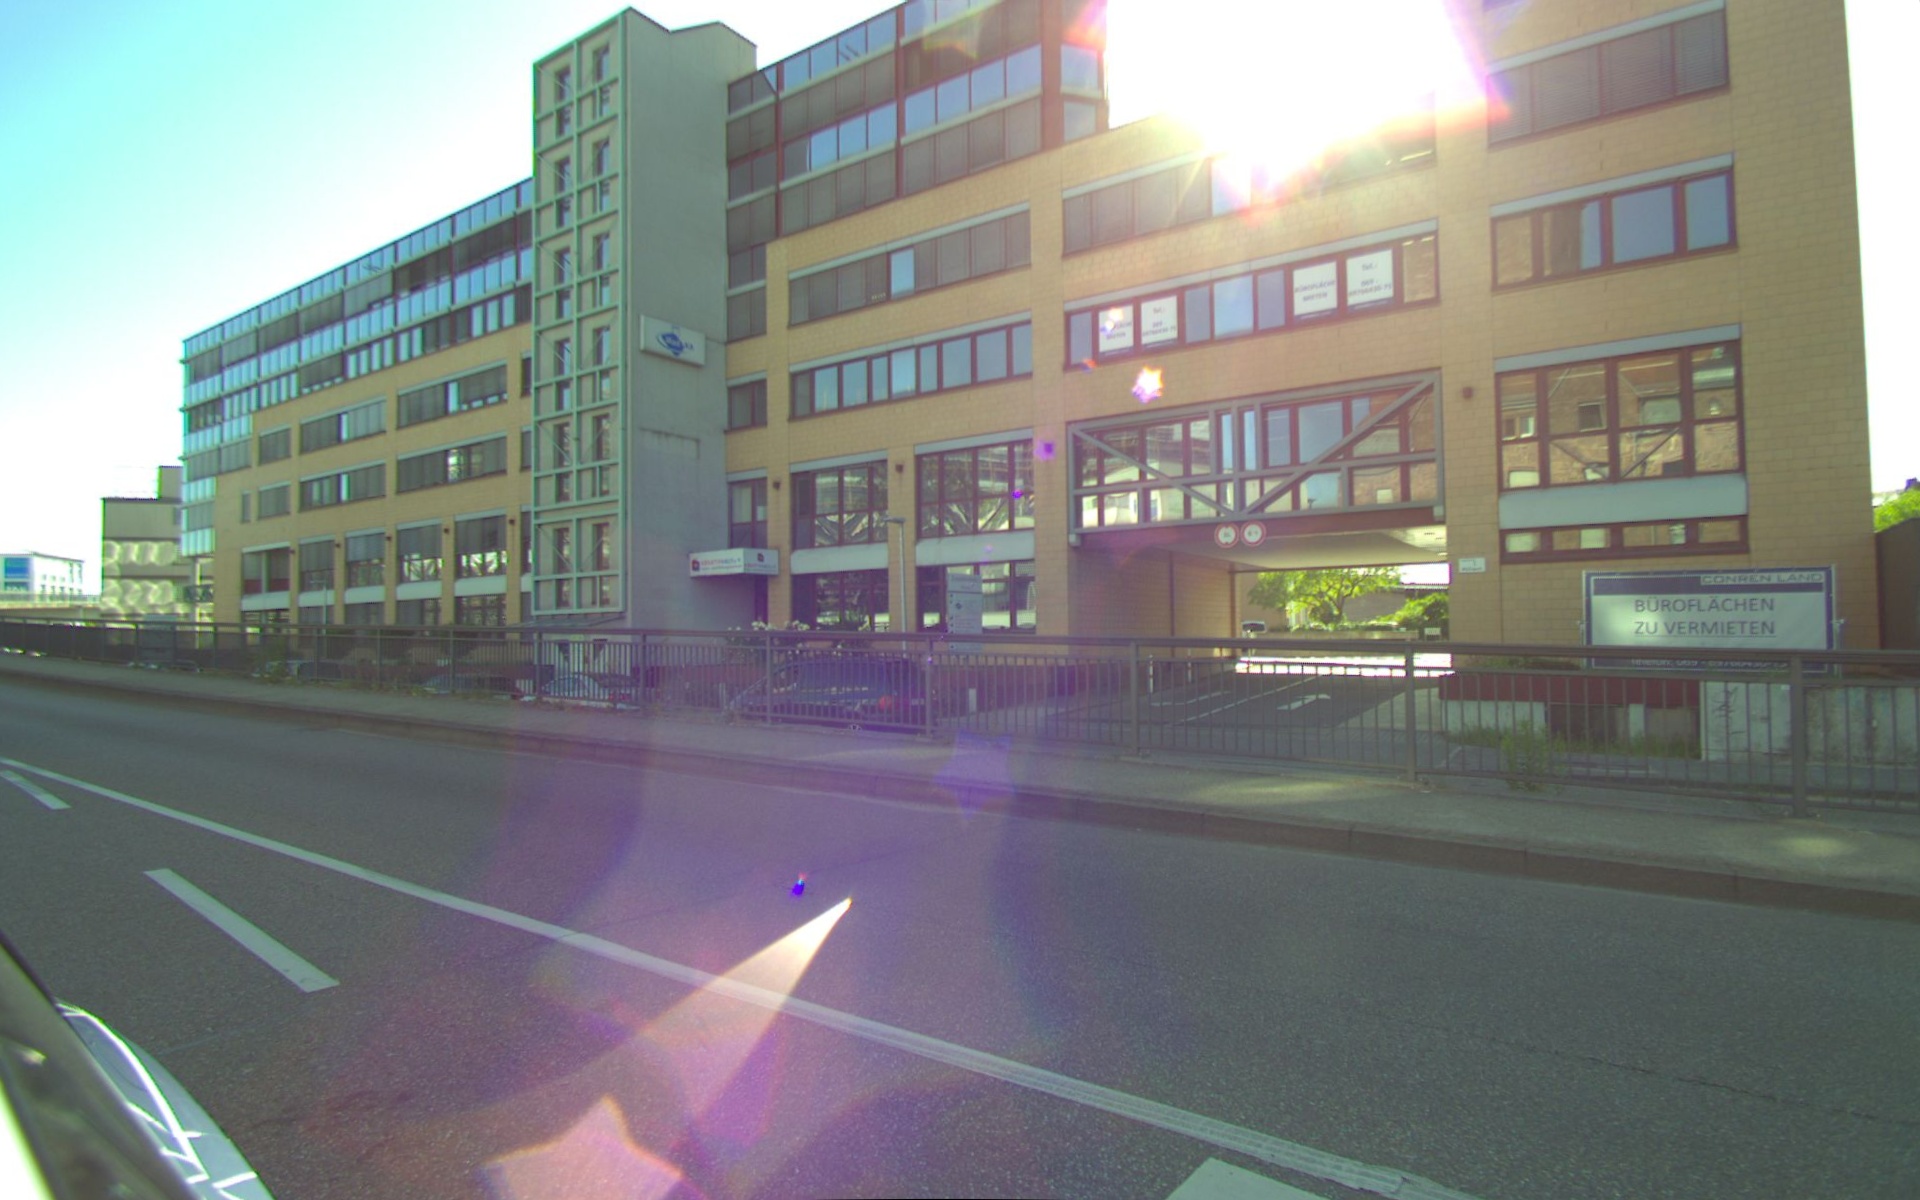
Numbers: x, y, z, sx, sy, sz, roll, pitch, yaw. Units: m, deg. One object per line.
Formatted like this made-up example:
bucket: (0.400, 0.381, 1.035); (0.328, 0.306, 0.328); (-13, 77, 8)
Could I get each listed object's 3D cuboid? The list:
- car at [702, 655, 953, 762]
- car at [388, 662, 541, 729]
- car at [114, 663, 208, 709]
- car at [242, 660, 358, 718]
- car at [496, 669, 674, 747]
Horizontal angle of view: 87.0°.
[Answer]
car: (-2.619, 1.978, 19.479); (4.674, 1.771, 1.935); (-2, -2, 33)
car: (-13.326, 2.494, 27.164); (4.346, 1.616, 1.804); (-2, -3, 35)
car: (-31.515, 3.332, 39.905); (3.994, 1.675, 1.975); (-3, -3, 38)
car: (-21.647, 2.849, 33.155); (3.994, 1.737, 1.975); (-3, -3, 38)
car: (-8.894, 2.468, 23.892); (4.346, 1.616, 1.804); (-2, -3, 35)
